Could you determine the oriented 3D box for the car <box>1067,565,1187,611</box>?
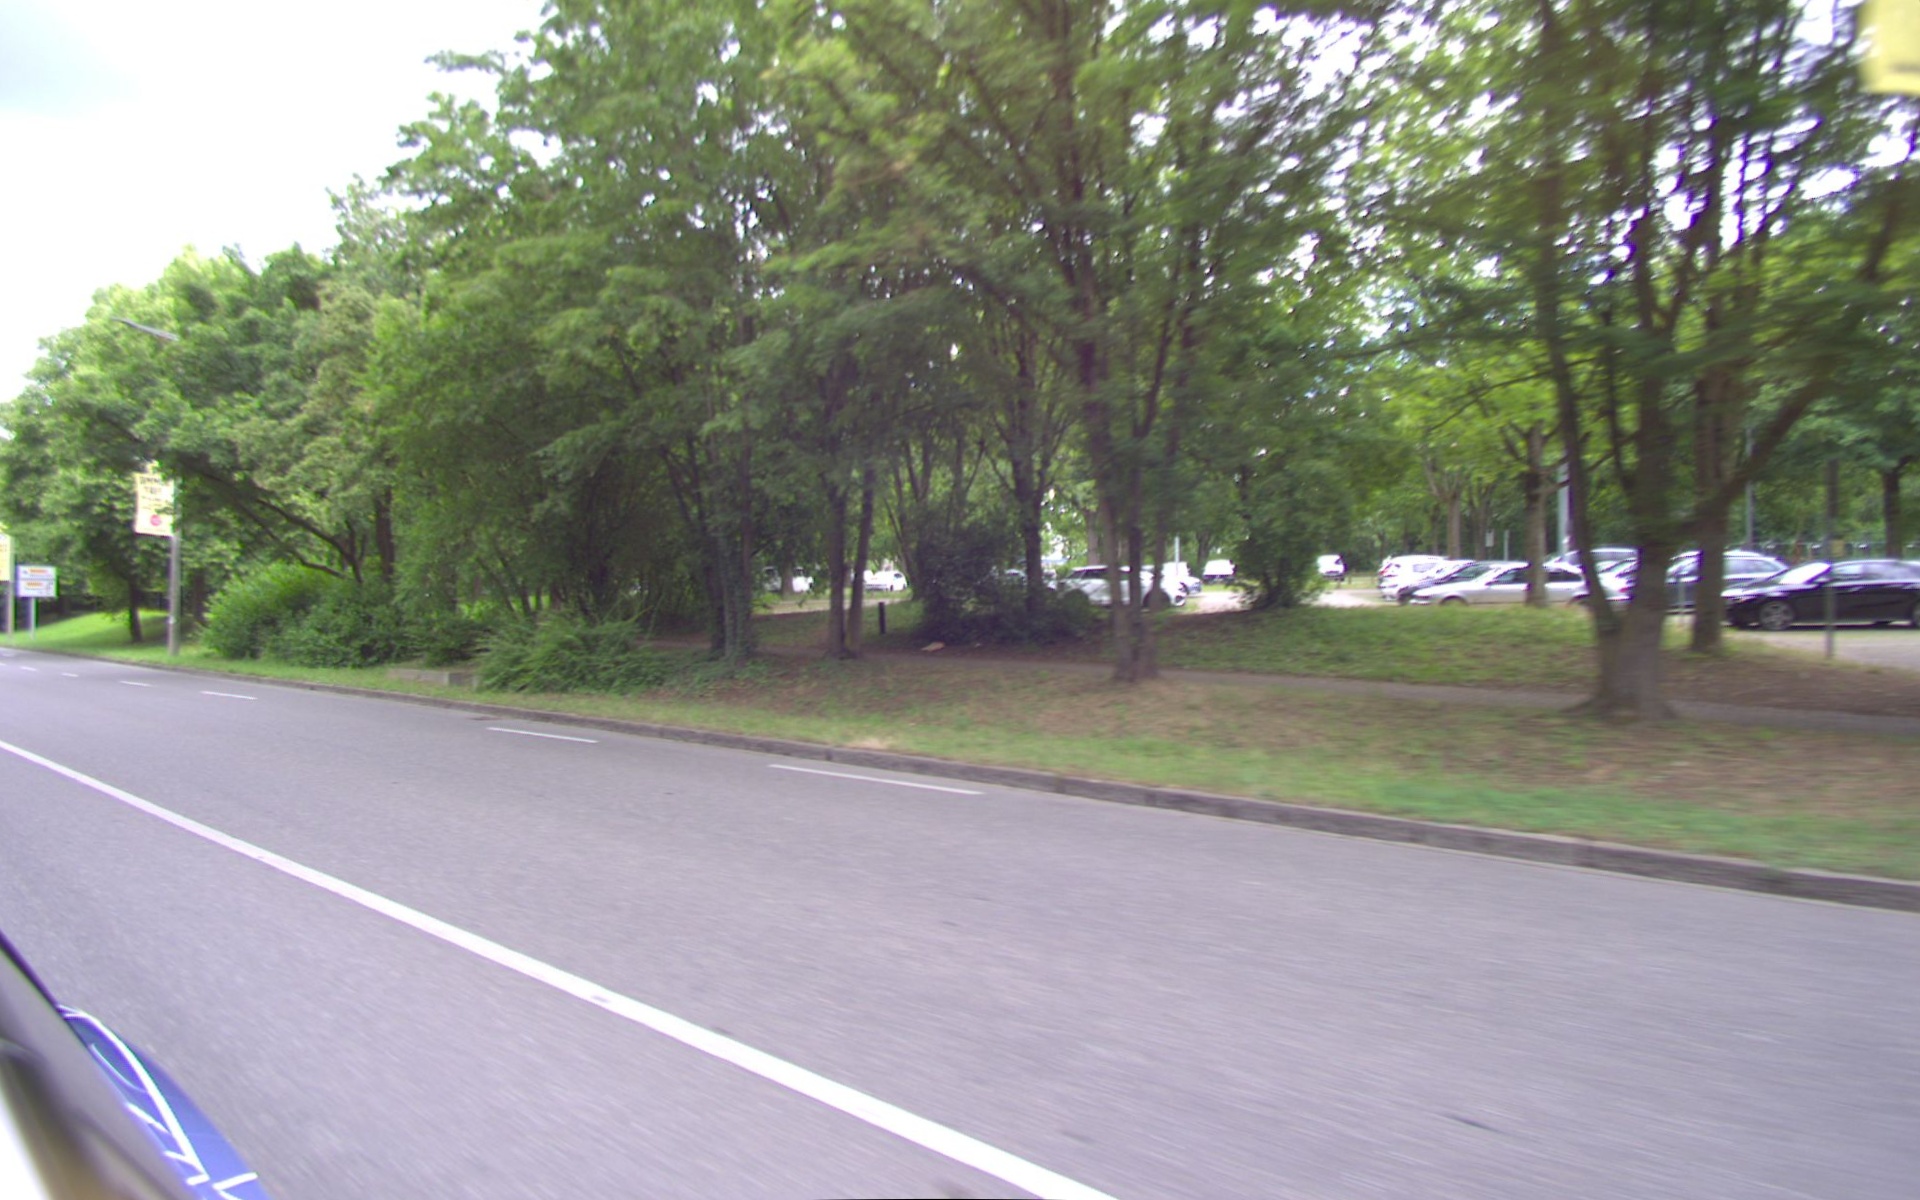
[{"bbox_3d":[5.854,-0.402,35.395,3.966,1.497,1.642,-1,0,17],"label":"car"}]

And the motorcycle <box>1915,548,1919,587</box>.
[{"bbox_3d":[33.867,-1.133,34.244,2.186,1.333,0.716,-1,0,41],"label":"motorcycle"}]

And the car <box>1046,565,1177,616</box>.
[{"bbox_3d":[4.902,-0.293,32.600,3.966,1.497,1.642,-1,0,17],"label":"car"}]

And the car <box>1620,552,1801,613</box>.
[{"bbox_3d":[19.013,-0.436,25.783,3.353,1.425,1.530,-1,1,20],"label":"car"}]

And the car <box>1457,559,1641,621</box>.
[{"bbox_3d":[14.392,-0.257,24.908,3.553,1.390,1.642,-1,1,14],"label":"car"}]

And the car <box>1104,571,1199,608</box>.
[{"bbox_3d":[8.517,-0.455,44.997,3.966,1.497,1.642,-1,0,17],"label":"car"}]

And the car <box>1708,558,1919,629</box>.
[{"bbox_3d":[18.232,-0.141,21.002,4.092,1.350,1.433,-1,1,20],"label":"car"}]

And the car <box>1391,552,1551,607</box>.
[{"bbox_3d":[15.088,-0.586,30.076,3.966,1.497,1.642,-1,0,17],"label":"car"}]

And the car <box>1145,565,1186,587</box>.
[{"bbox_3d":[20.754,-2.451,102.074,3.950,2.075,1.893,-1,0,16],"label":"car"}]

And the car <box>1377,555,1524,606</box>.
[{"bbox_3d":[15.506,-0.594,32.200,3.966,1.497,1.642,-1,0,17],"label":"car"}]

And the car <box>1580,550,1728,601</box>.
[{"bbox_3d":[20.866,-0.737,30.562,3.353,1.425,1.530,-1,1,20],"label":"car"}]

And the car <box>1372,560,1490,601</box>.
[{"bbox_3d":[16.879,-0.693,36.409,3.553,1.363,1.642,-1,1,14],"label":"car"}]

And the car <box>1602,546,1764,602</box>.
[{"bbox_3d":[20.168,-0.723,28.383,3.353,1.425,1.530,-1,1,20],"label":"car"}]

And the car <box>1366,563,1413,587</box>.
[{"bbox_3d":[24.316,-1.388,57.400,1.886,1.219,3.965,-1,0,16],"label":"car"}]
